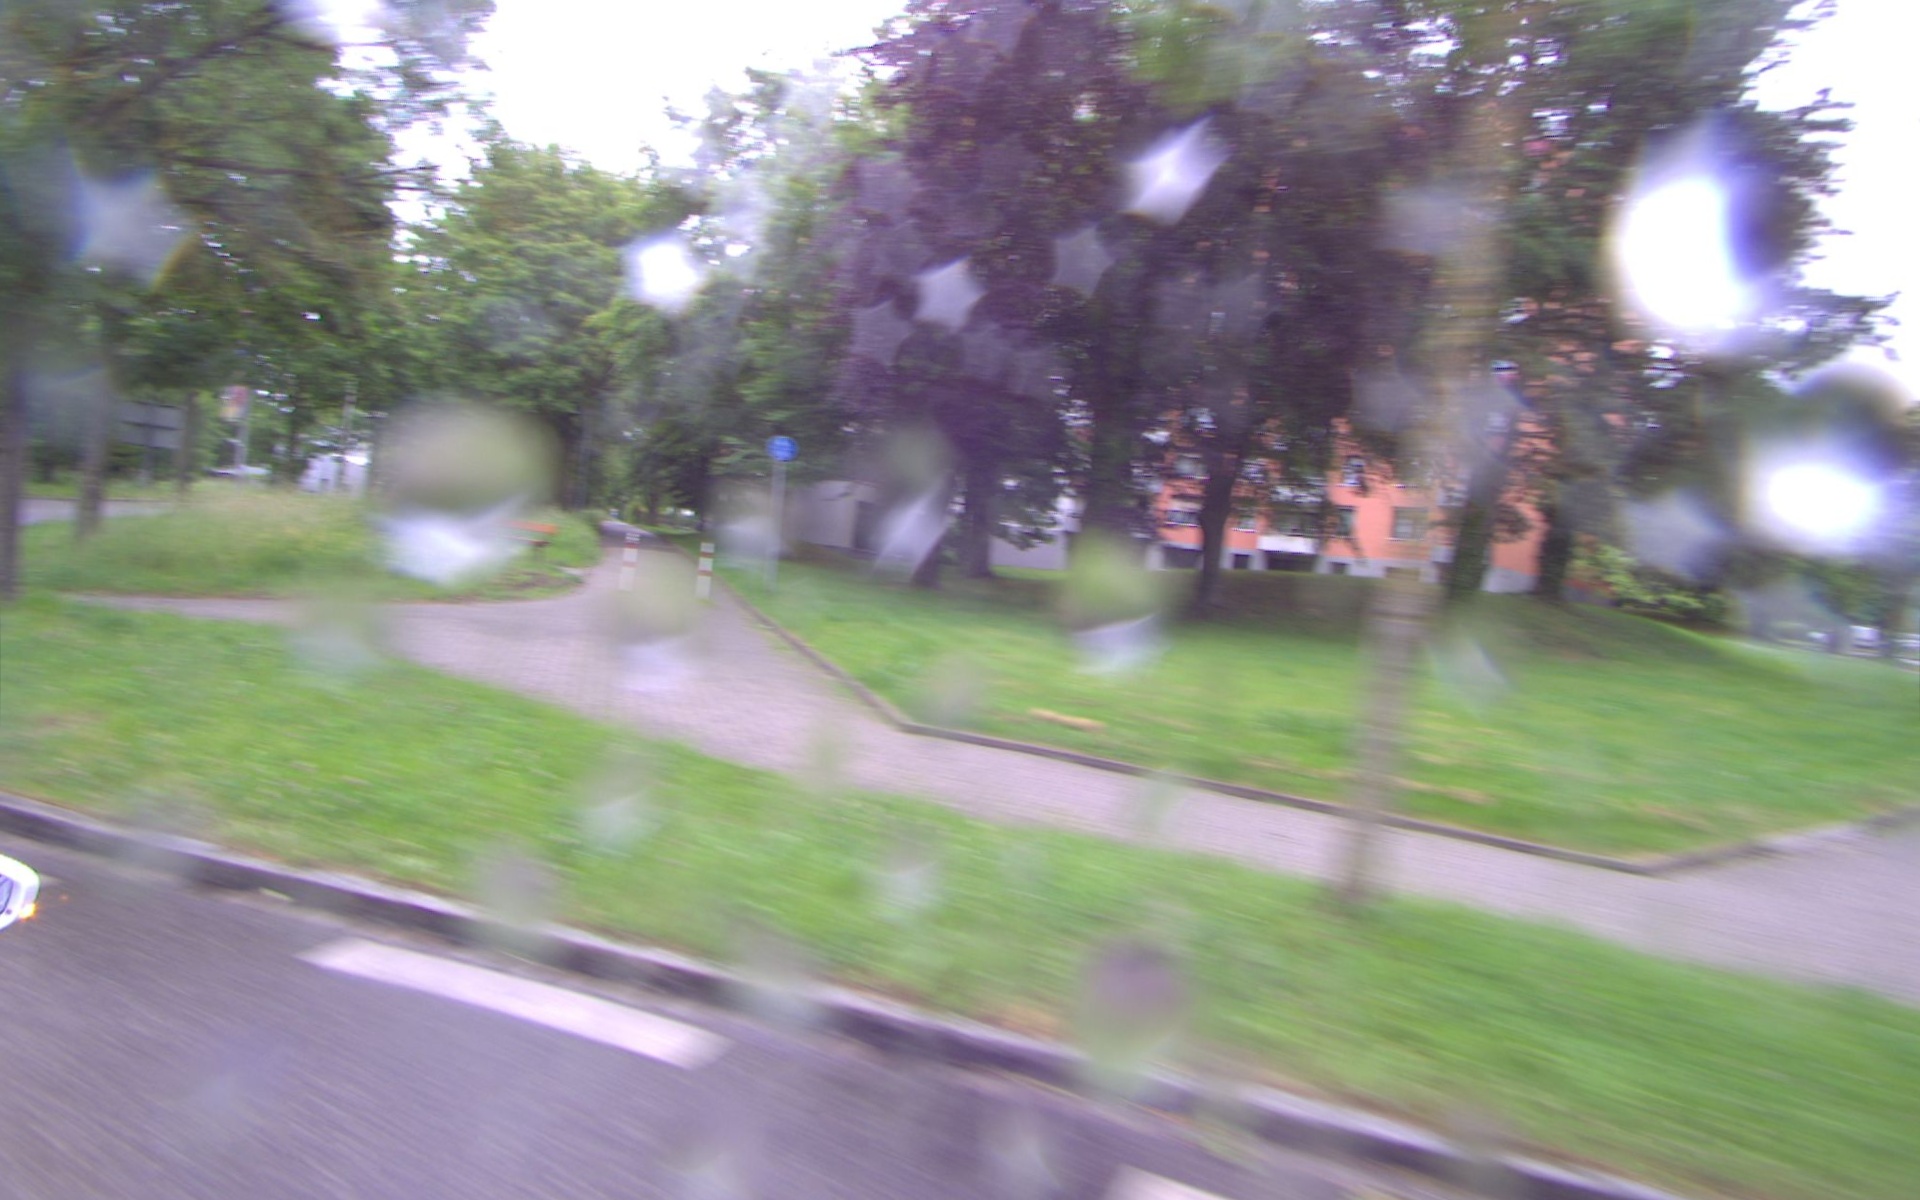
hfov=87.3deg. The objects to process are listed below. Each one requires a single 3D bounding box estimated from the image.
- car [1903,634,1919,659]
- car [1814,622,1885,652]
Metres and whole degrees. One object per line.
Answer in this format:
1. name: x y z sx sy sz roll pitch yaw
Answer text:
1. car: 62.273 3.064 63.658 1.850 1.586 3.999 6 1 13
2. car: 66.199 2.753 74.928 1.962 1.897 3.999 6 1 10
